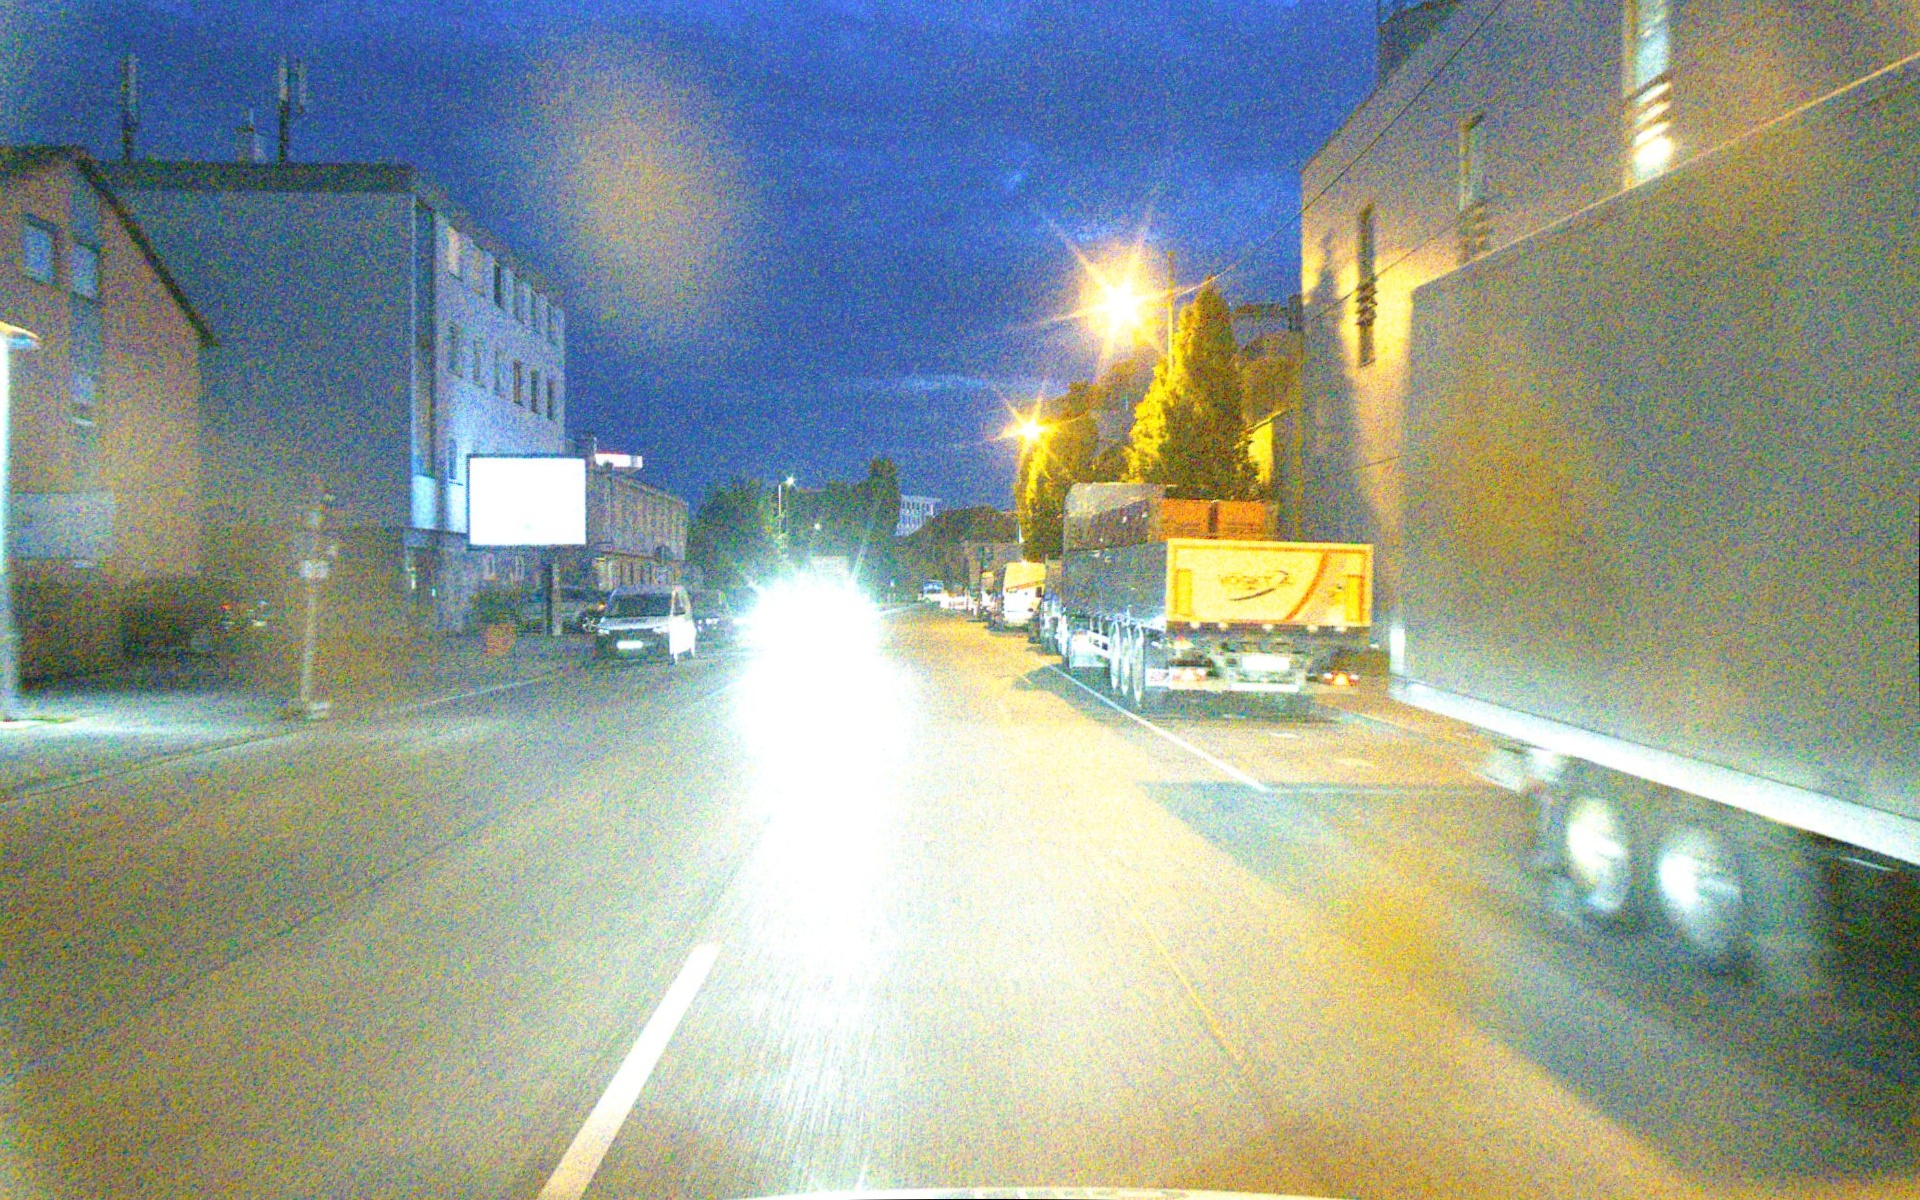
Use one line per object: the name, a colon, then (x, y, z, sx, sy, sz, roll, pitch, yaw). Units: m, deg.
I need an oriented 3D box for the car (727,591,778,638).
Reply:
car: (-7.957, 0.532, 63.676, 1.861, 1.766, 4.350, 0, 0, -6)

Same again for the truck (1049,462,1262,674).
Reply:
truck: (3.529, -0.530, 31.634, 3.087, 3.524, 6.671, -2, 0, -1)

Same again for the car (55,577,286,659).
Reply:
car: (-16.586, 0.359, 34.916, 3.908, 1.680, 1.998, 0, 0, -4)

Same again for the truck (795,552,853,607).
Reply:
truck: (-9.515, -1.366, 115.189, 3.816, 3.685, 8.249, 0, 0, -6)

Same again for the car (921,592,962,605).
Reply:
car: (-2.005, -0.193, 180.712, 4.436, 1.404, 2.000, 0, 0, 2)

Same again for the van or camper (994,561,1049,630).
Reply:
van or camper: (2.382, -0.179, 65.360, 1.953, 2.627, 4.914, 0, 0, 0)

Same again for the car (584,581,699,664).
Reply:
car: (-7.286, 0.484, 38.232, 1.953, 1.825, 3.999, 0, 0, -1)

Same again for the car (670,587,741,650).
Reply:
car: (-7.497, 0.511, 49.051, 1.645, 1.766, 4.353, 0, 0, -3)

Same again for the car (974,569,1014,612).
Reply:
car: (1.751, -0.505, 85.898, 1.953, 2.183, 3.999, 0, 0, -1)

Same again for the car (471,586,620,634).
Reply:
car: (-13.653, 0.313, 54.486, 4.552, 1.511, 1.985, 0, 0, -24)

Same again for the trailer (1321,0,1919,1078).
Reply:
trailer: (4.163, -0.242, 8.180, 2.633, 3.525, 7.803, 0, 0, -3)

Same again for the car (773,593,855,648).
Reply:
car: (-3.934, 0.522, 45.229, 1.953, 1.422, 3.999, 0, 0, -1)

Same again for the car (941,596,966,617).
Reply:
car: (-0.567, 0.533, 136.206, 1.953, 1.713, 3.999, 0, 0, -1)

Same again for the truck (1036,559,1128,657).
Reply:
truck: (3.158, 0.187, 43.790, 1.953, 2.449, 5.291, 0, 0, -1)

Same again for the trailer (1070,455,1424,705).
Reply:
trailer: (3.682, -0.201, 24.493, 3.120, 2.797, 10.712, -2, 0, -1)
